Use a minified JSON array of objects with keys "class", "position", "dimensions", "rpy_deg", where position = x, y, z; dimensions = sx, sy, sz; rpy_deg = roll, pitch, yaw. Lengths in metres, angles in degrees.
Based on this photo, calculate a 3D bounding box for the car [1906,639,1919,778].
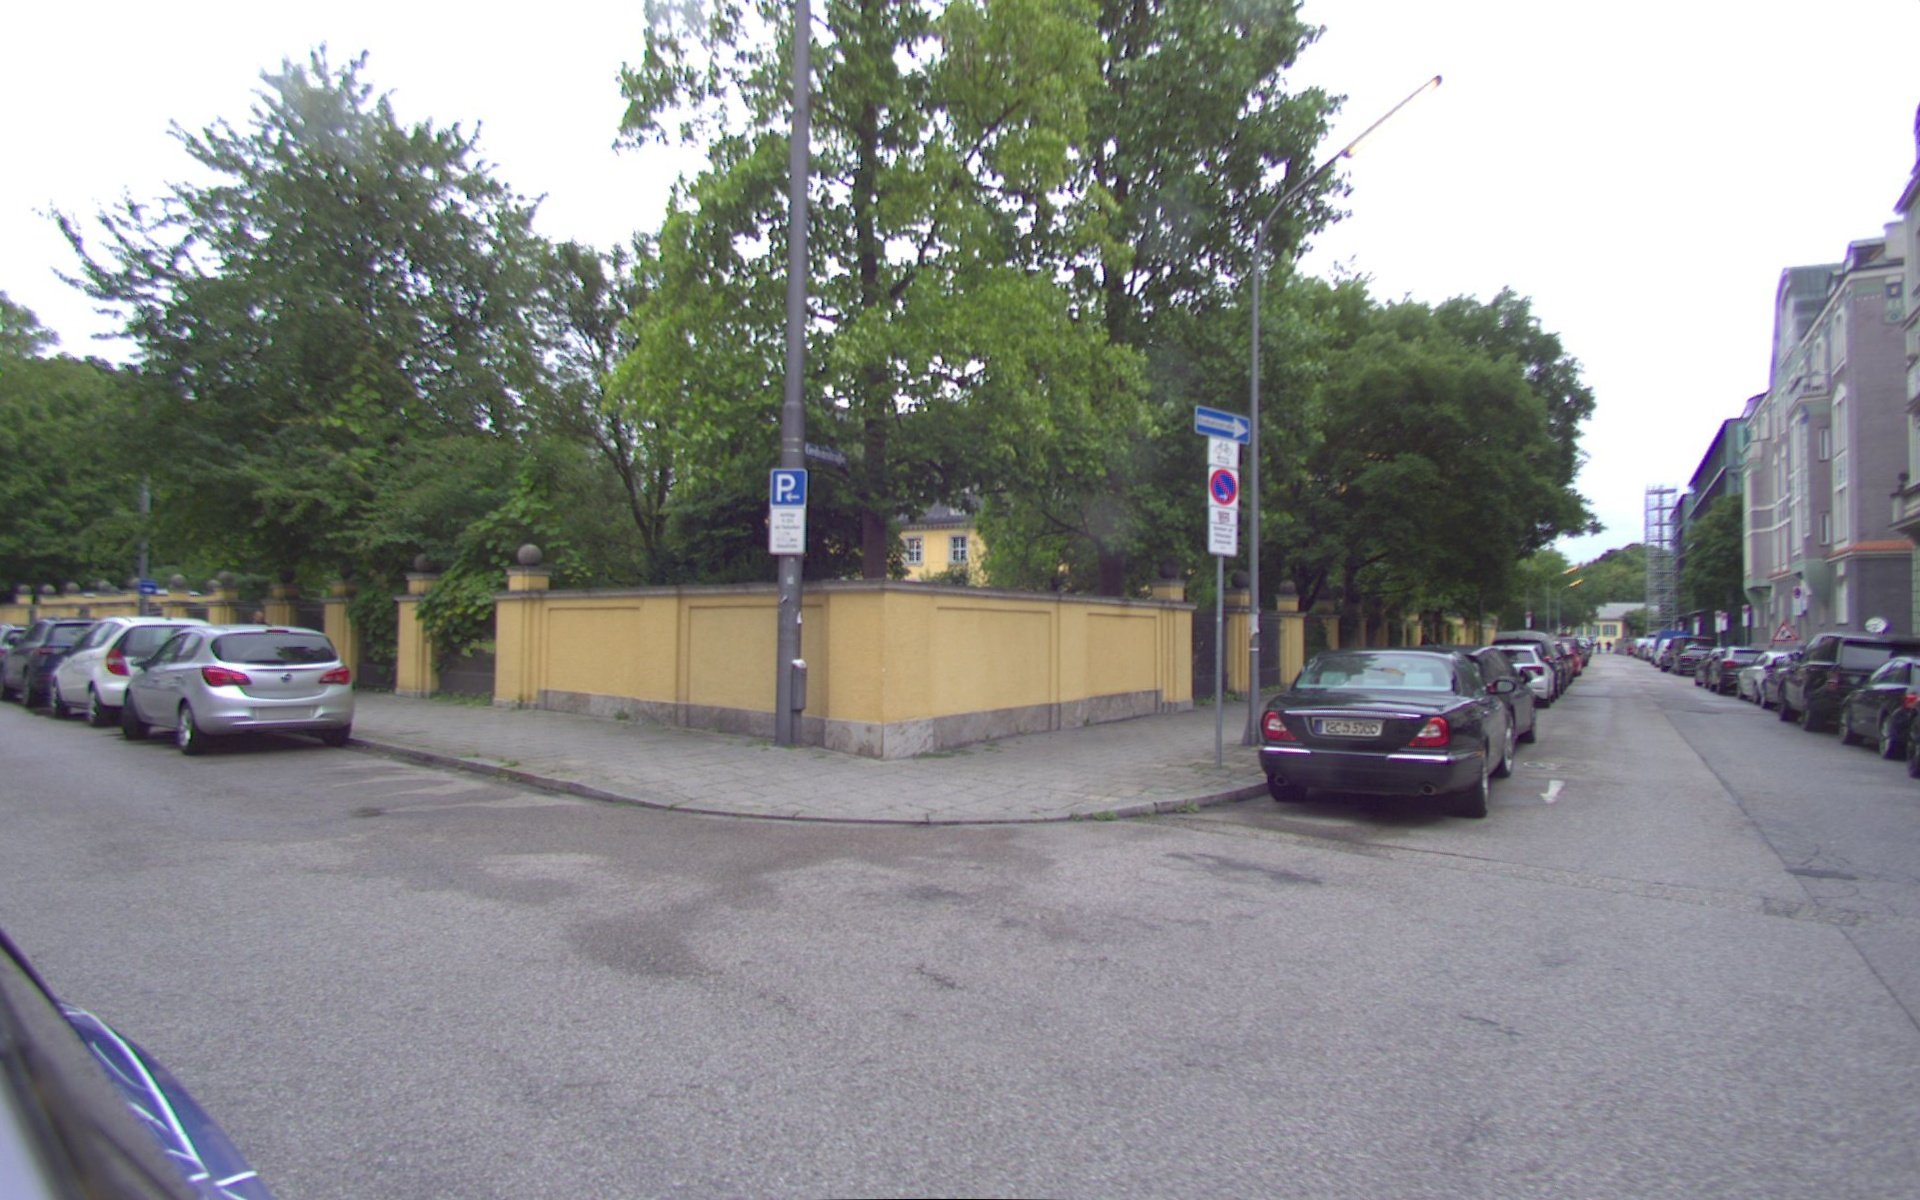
[{"class":"car","position":[10.902,1.192,9.709],"dimensions":[1.929,1.577,4.469],"rpy_deg":[1,-1,34]}]

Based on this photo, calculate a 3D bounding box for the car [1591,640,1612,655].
[{"class":"car","position":[83.789,6.158,132.244],"dimensions":[2.062,1.835,4.331],"rpy_deg":[2,-1,31]}]

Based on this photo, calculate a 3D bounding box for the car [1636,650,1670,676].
[{"class":"car","position":[57.901,5.225,84.611],"dimensions":[1.992,2.029,3.959],"rpy_deg":[-1,-3,30]}]

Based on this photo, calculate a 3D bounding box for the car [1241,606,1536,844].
[{"class":"car","position":[4.439,1.034,10.003],"dimensions":[1.900,1.757,4.685],"rpy_deg":[-1,-3,33]}]

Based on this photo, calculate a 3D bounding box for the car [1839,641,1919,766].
[{"class":"car","position":[14.079,1.439,14.272],"dimensions":[1.929,1.577,4.382],"rpy_deg":[2,-1,34]}]

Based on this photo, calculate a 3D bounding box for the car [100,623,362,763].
[{"class":"car","position":[-9.325,1.093,12.842],"dimensions":[3.952,1.504,1.683],"rpy_deg":[-2,-4,39]}]

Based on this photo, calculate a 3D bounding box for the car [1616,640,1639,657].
[{"class":"car","position":[79.627,5.757,120.742],"dimensions":[1.992,2.029,3.959],"rpy_deg":[-1,-3,30]}]

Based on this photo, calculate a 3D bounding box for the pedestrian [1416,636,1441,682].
[{"class":"pedestrian","position":[17.829,2.238,38.487],"dimensions":[0.781,1.703,0.710],"rpy_deg":[0,-3,32]}]

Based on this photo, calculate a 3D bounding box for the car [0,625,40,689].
[{"class":"car","position":[-25.273,1.446,26.123],"dimensions":[3.926,1.573,1.633],"rpy_deg":[-2,-4,39]}]

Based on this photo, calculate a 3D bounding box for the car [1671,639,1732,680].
[{"class":"car","position":[35.622,2.836,48.708],"dimensions":[2.049,1.872,4.470],"rpy_deg":[-2,-3,33]}]

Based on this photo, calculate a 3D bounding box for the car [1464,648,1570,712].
[{"class":"car","position":[13.680,1.877,24.744],"dimensions":[1.828,1.395,4.190],"rpy_deg":[-1,-3,35]}]

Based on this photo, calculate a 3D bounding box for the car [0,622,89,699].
[{"class":"car","position":[-20.973,1.320,22.570],"dimensions":[3.926,1.573,1.633],"rpy_deg":[-2,-4,39]}]

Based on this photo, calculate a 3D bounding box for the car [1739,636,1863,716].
[{"class":"car","position":[22.274,1.946,26.970],"dimensions":[2.049,1.872,4.469],"rpy_deg":[1,-2,34]}]

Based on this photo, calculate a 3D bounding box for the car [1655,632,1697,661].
[{"class":"car","position":[49.061,3.179,69.426],"dimensions":[1.993,1.929,3.958],"rpy_deg":[-1,-3,31]}]

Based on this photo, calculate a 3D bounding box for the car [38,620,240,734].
[{"class":"car","position":[-13.031,1.139,15.994],"dimensions":[3.926,1.573,1.683],"rpy_deg":[-2,-3,39]}]

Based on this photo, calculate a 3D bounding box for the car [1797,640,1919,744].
[{"class":"car","position":[16.487,1.584,18.028],"dimensions":[1.929,1.607,4.192],"rpy_deg":[2,-1,34]}]

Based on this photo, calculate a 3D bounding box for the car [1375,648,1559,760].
[{"class":"car","position":[7.604,1.412,14.966],"dimensions":[1.849,1.395,4.190],"rpy_deg":[-1,-3,35]}]

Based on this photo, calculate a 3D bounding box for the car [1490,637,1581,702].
[{"class":"car","position":[16.278,1.891,28.528],"dimensions":[1.828,1.697,4.190],"rpy_deg":[-1,-3,35]}]

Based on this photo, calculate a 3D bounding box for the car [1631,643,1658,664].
[{"class":"car","position":[69.591,5.392,102.939],"dimensions":[1.992,2.029,3.959],"rpy_deg":[-1,-3,30]}]

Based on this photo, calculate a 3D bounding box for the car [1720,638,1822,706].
[{"class":"car","position":[24.847,2.145,31.159],"dimensions":[2.049,1.872,4.469],"rpy_deg":[1,-2,34]}]

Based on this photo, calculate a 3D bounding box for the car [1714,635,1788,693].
[{"class":"car","position":[29.714,2.357,38.103],"dimensions":[1.878,2.029,3.953],"rpy_deg":[-1,-3,34]}]

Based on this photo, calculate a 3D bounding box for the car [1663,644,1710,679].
[{"class":"car","position":[44.442,3.754,61.997],"dimensions":[1.993,2.029,3.957],"rpy_deg":[-1,-3,31]}]

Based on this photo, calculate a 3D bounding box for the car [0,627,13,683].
[{"class":"car","position":[-28.577,1.539,28.941],"dimensions":[3.926,1.573,1.633],"rpy_deg":[-2,-4,39]}]

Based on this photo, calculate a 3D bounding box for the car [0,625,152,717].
[{"class":"car","position":[-16.836,1.290,19.103],"dimensions":[3.926,1.573,1.633],"rpy_deg":[-2,-4,39]}]
